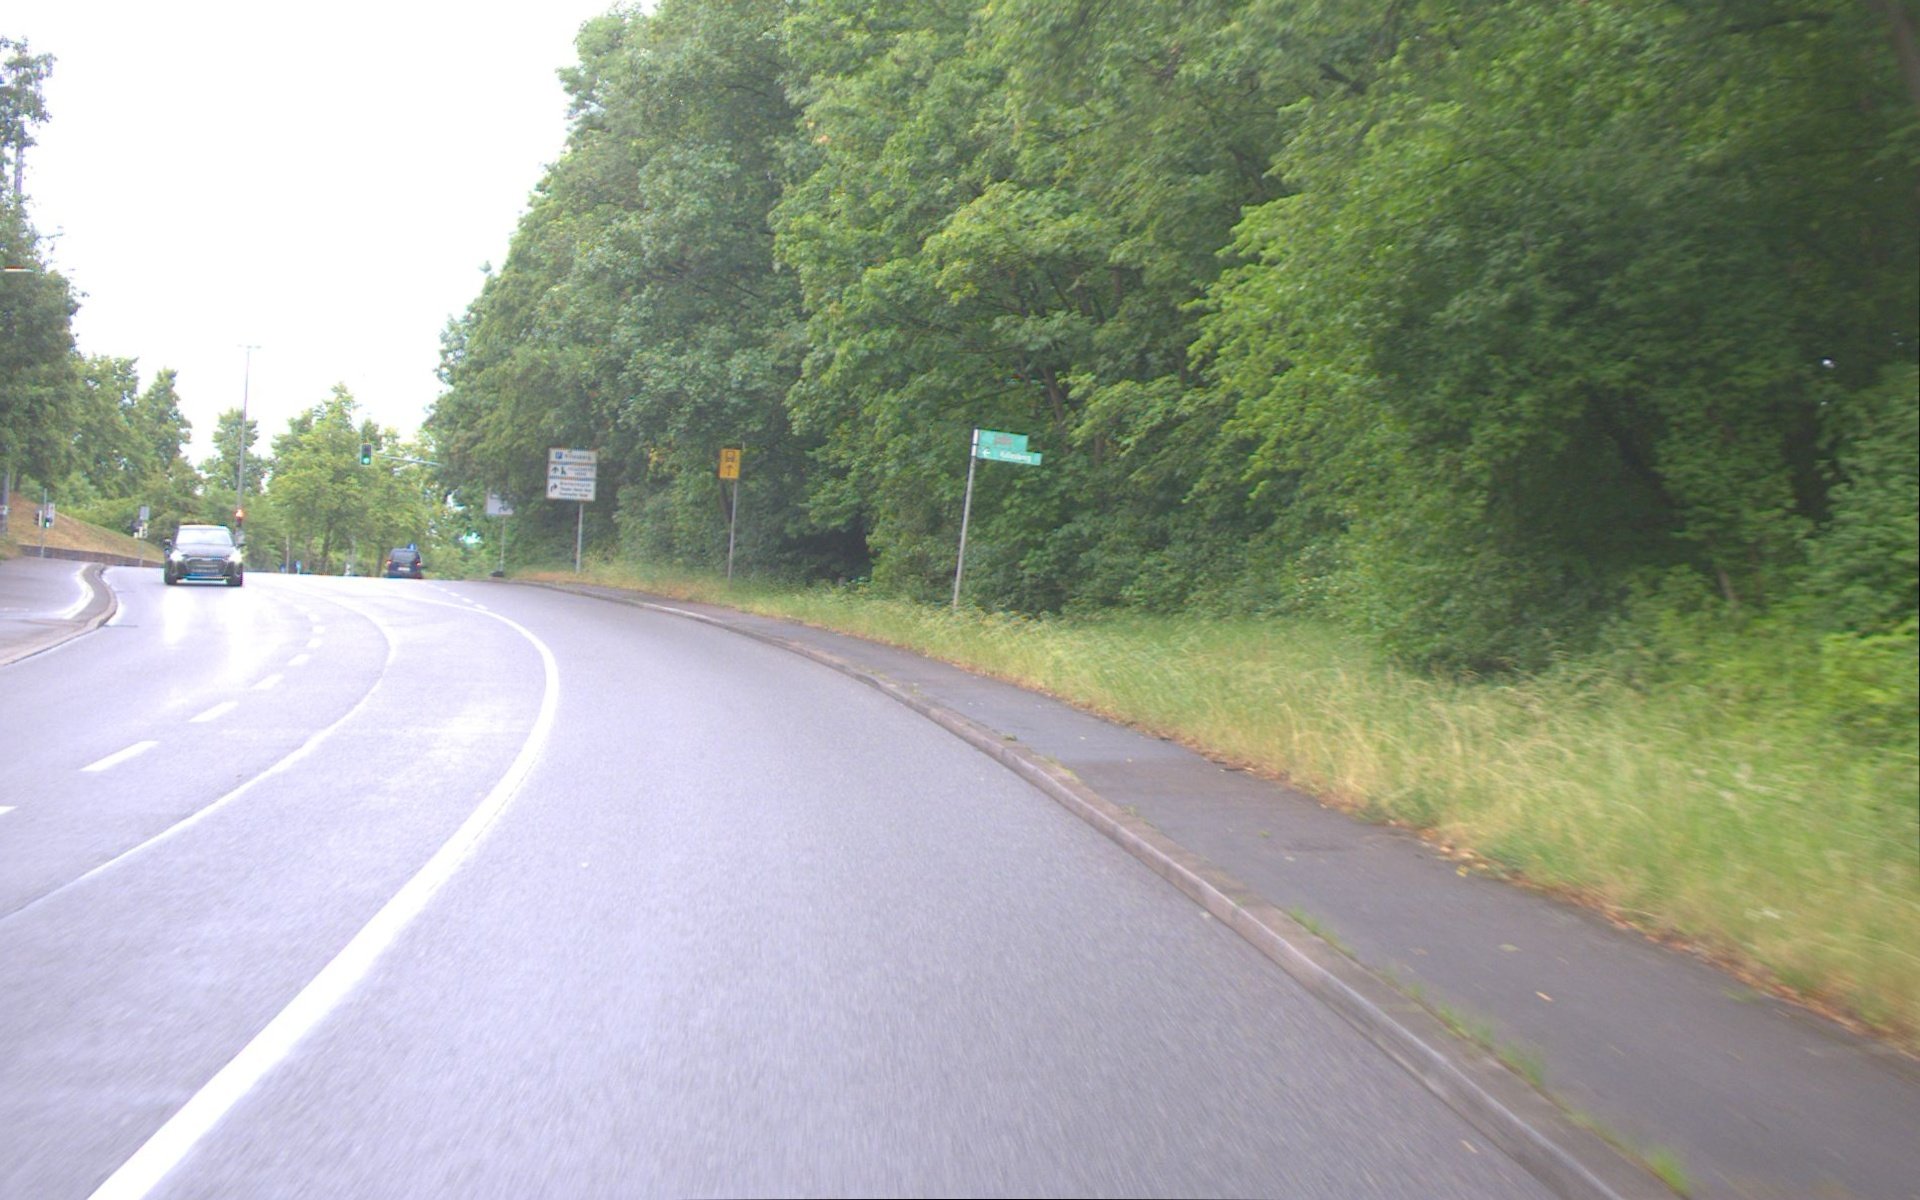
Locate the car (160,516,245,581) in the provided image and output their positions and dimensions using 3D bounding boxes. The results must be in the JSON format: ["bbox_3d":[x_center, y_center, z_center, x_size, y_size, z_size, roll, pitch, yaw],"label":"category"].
[{"bbox_3d":[-18.417,-1.276,83.644,1.934,1.493,4.319,1,1,-12],"label":"car"}]

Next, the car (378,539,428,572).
[{"bbox_3d":[-26.331,-2.107,162.528,1.935,1.493,4.319,1,1,-4],"label":"car"}]
